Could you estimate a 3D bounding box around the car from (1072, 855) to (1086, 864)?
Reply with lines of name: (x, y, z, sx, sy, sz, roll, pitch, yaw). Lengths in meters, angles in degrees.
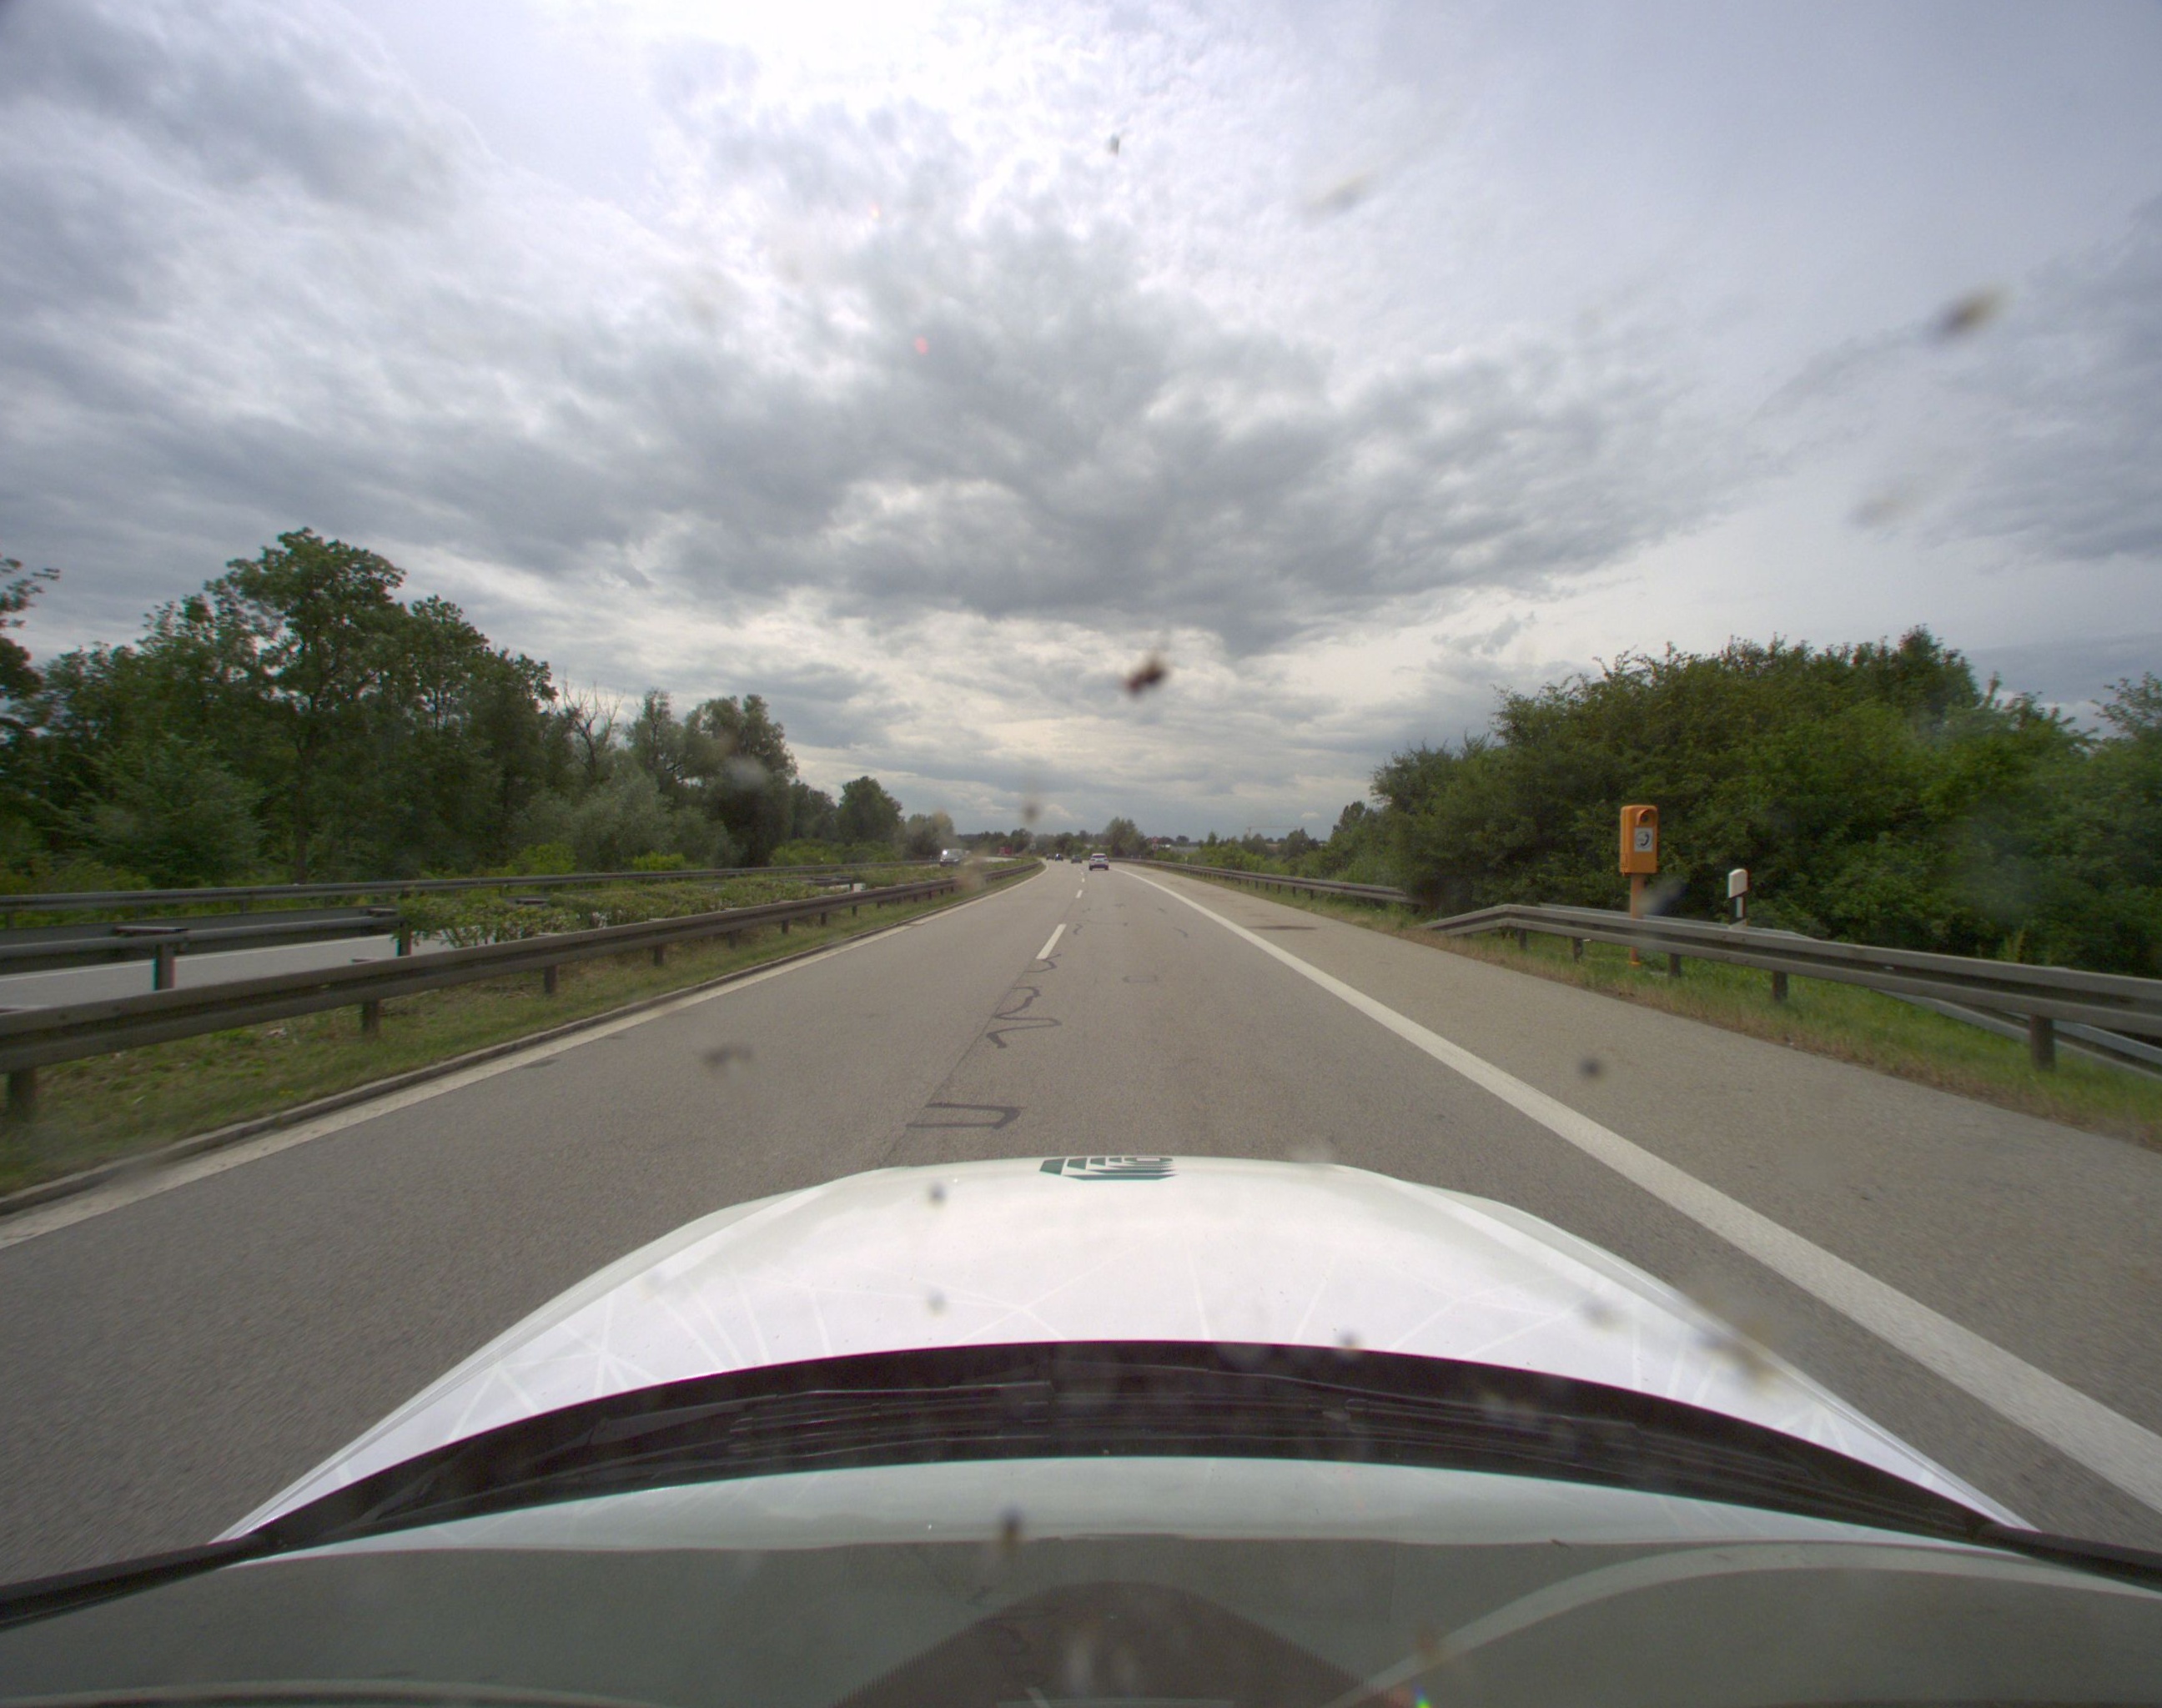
car: (-0.386, 0.950, 140.171, 1.889, 1.640, 4.613, 0, 0, -5)

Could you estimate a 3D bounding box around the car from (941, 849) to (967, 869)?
car: (-12.605, 0.458, 80.936, 1.694, 1.884, 5.228, 0, 0, 1)

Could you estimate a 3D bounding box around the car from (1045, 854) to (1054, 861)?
car: (-8.188, 0.910, 211.052, 1.825, 1.793, 4.401, -3, 1, -8)

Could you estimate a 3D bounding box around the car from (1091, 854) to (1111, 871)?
car: (1.961, 0.781, 81.354, 1.897, 1.640, 4.394, 0, 0, -1)

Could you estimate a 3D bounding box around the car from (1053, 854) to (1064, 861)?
car: (-5.091, 0.761, 184.085, 1.901, 1.640, 4.767, -2, 0, -7)
